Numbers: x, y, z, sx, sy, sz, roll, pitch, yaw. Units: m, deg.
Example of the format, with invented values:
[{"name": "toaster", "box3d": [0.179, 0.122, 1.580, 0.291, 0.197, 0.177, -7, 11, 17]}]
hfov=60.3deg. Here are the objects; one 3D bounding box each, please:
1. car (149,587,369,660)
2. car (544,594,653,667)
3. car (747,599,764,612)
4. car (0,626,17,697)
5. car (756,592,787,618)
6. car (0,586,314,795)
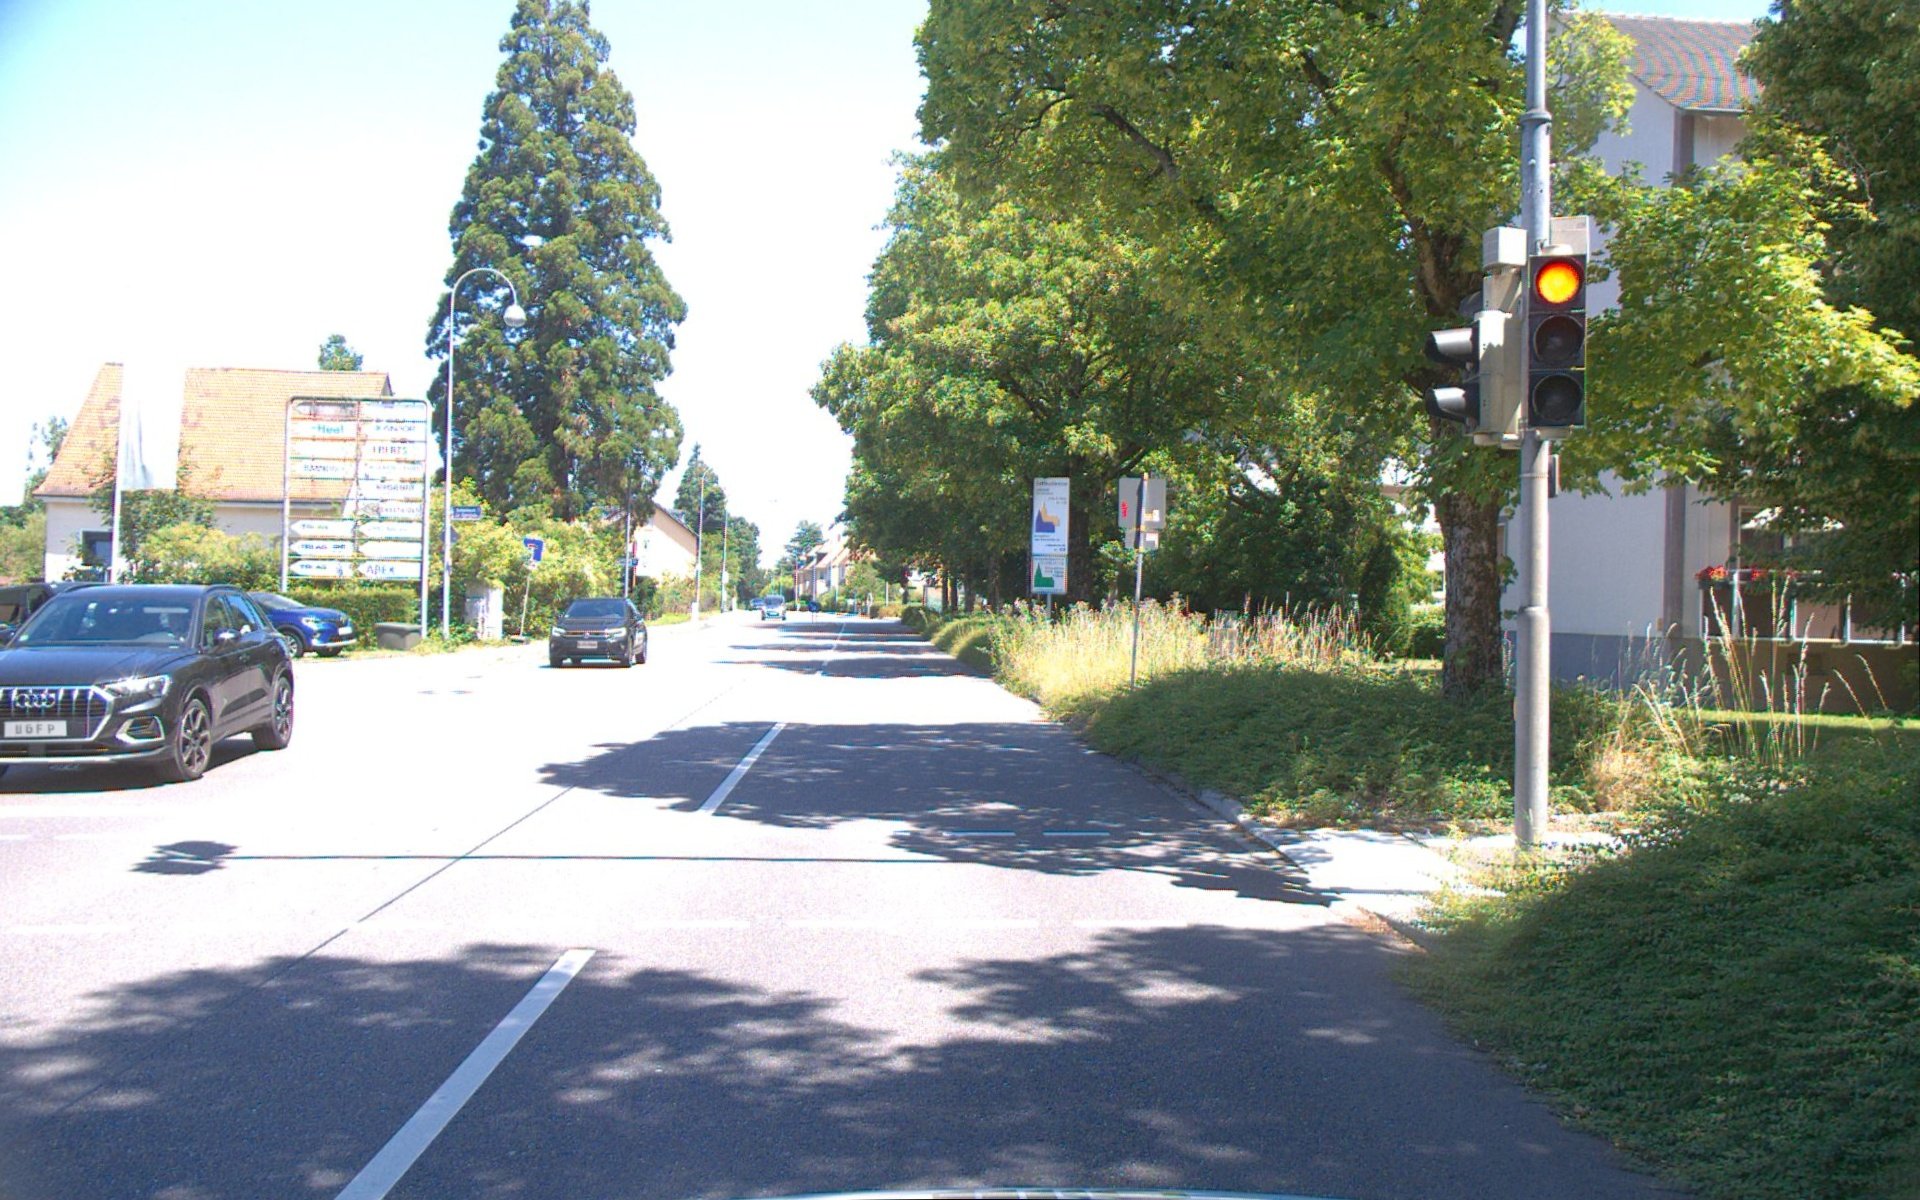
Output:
[{"name": "car", "box3d": [-15.200, 0.491, 35.945, 4.047, 1.531, 1.779, 0, 0, 8]}, {"name": "car", "box3d": [-7.972, 0.647, 36.793, 1.832, 1.533, 4.049, 0, 0, -5]}, {"name": "car", "box3d": [-25.319, 0.665, 204.871, 1.786, 1.579, 3.996, 0, 0, -4]}, {"name": "car", "box3d": [-24.650, 1.530, 40.040, 1.775, 1.752, 4.081, 1, 0, -8]}, {"name": "car", "box3d": [-13.637, 0.368, 119.957, 1.774, 1.793, 4.569, 2, 0, -1]}, {"name": "car", "box3d": [-7.285, 0.683, 14.686, 1.890, 1.582, 4.295, 0, 0, -8]}]
